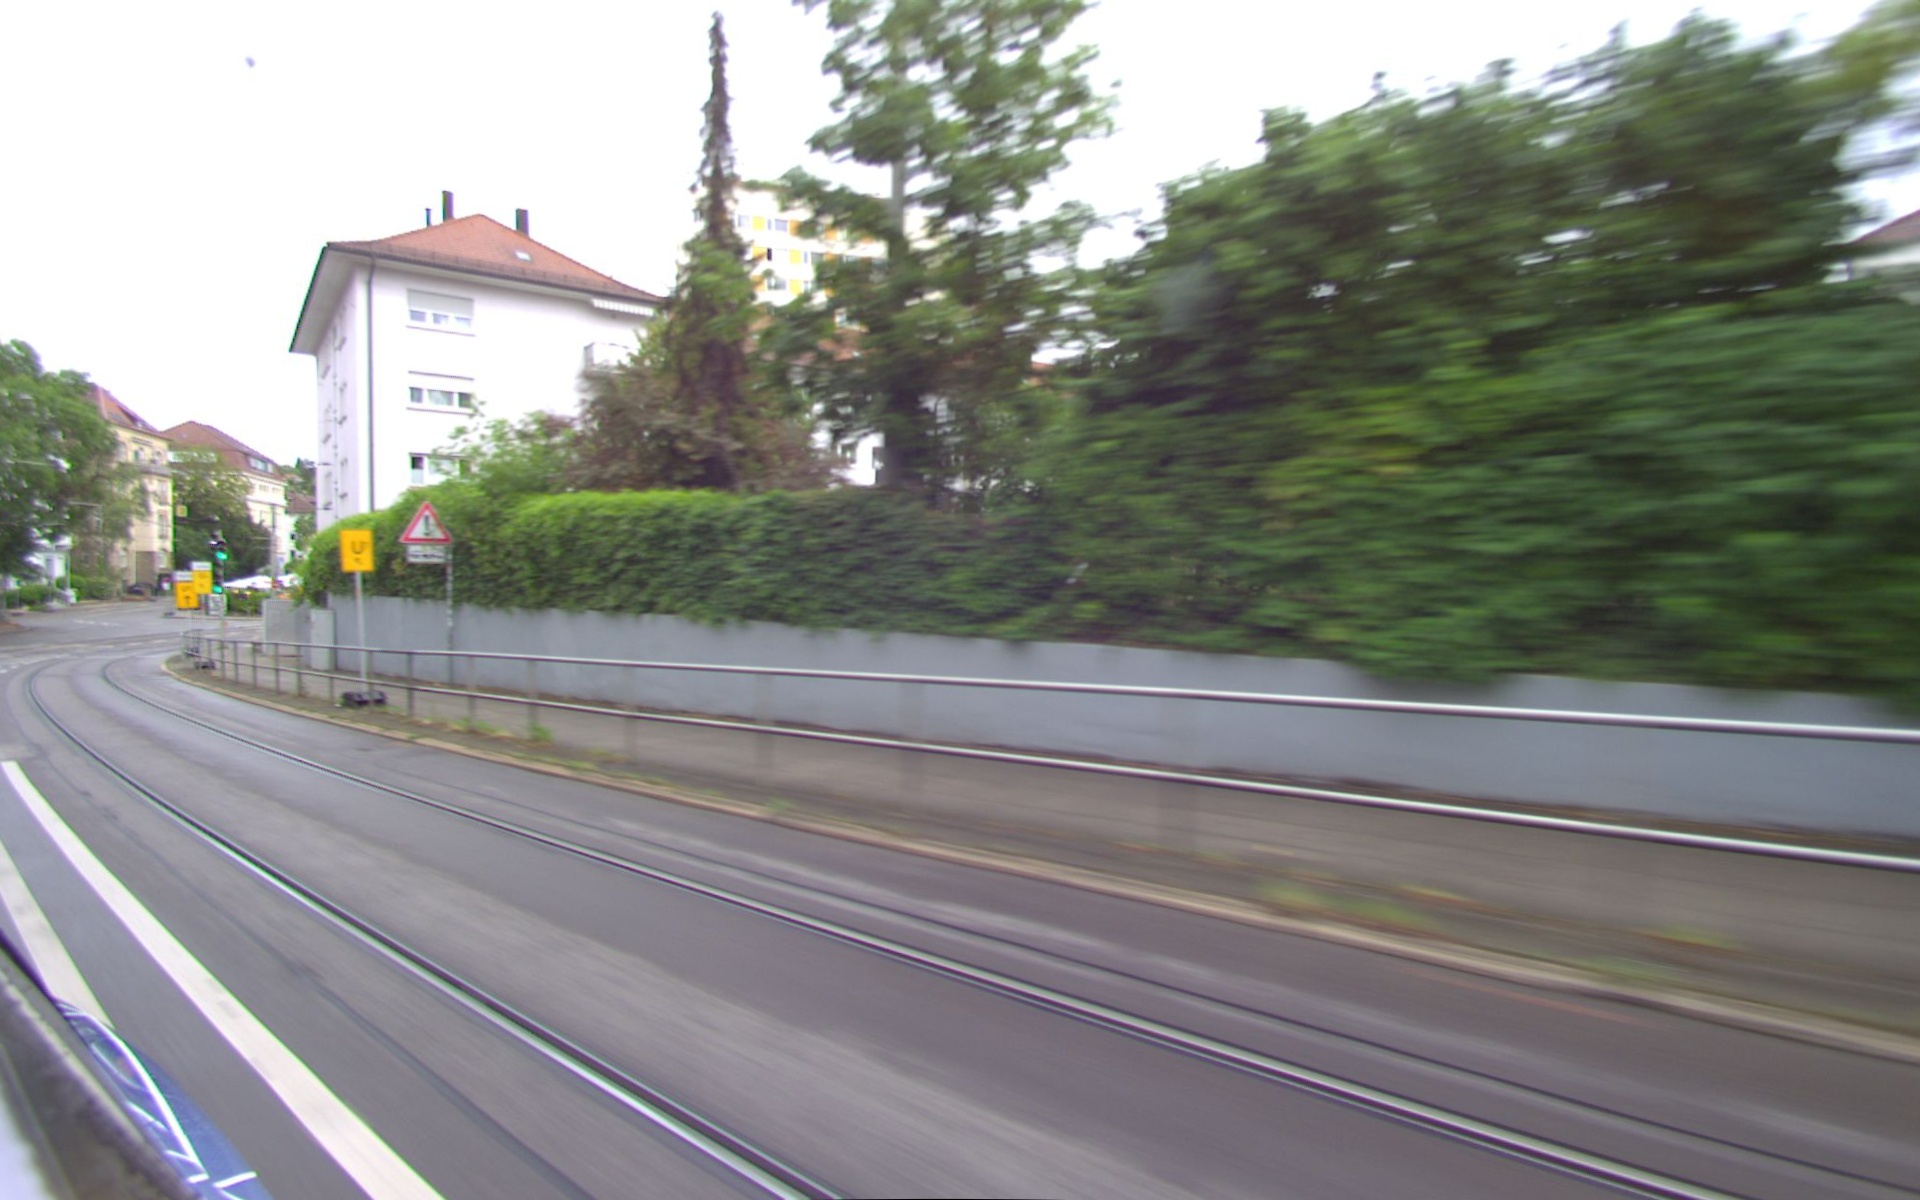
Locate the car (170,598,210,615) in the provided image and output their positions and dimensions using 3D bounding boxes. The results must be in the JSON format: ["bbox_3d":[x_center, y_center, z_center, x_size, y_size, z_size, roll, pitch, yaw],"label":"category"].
[{"bbox_3d":[-67.167,0.573,88.312,1.664,1.453,3.816,2,0,-20],"label":"car"}]

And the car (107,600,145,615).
[{"bbox_3d":[-81.668,0.767,99.128,1.573,1.351,3.645,0,-3,-17],"label":"car"}]
